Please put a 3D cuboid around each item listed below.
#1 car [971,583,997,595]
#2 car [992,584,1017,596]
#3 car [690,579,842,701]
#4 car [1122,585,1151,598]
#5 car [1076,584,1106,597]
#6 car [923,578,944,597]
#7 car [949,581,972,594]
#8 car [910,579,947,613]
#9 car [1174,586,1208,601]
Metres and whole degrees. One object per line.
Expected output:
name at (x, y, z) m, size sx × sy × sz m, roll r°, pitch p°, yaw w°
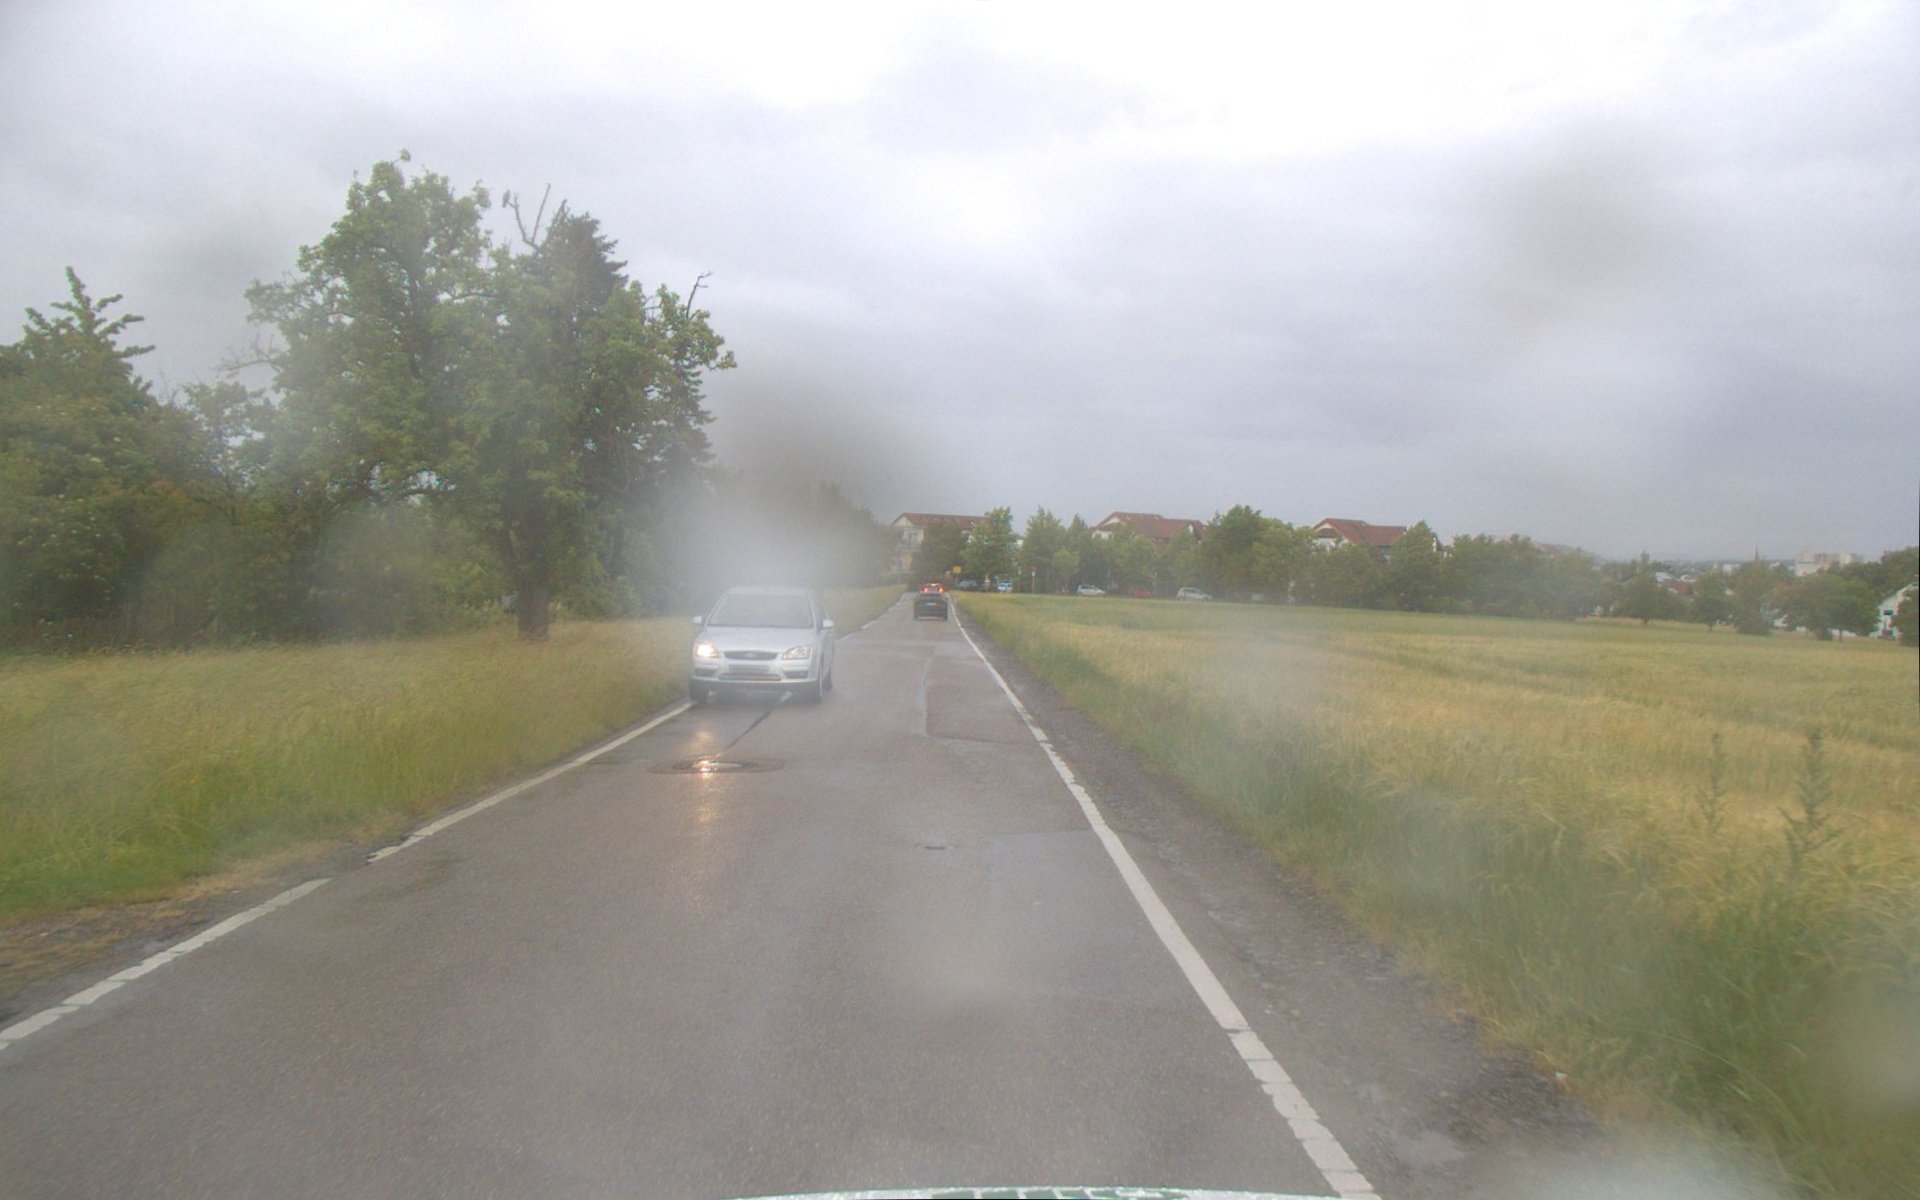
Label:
car at (3.286, -1.487, 225.409) m, size 1.632 × 1.573 × 3.986 m, roll 1°, pitch -1°, yaw 34°
car at (6.216, -1.427, 229.715) m, size 1.632 × 1.573 × 3.986 m, roll 1°, pitch -1°, yaw 34°
car at (-2.600, 0.525, 23.006) m, size 1.704 × 1.497 × 4.121 m, roll 1°, pitch -1°, yaw -2°
car at (20.320, -1.017, 190.546) m, size 3.124 × 1.394 × 1.573 m, roll 1°, pitch -1°, yaw 12°
car at (15.210, -1.111, 191.701) m, size 3.317 × 1.394 × 1.549 m, roll 1°, pitch -1°, yaw 12°
car at (-2.364, -1.110, 149.128) m, size 1.777 × 1.622 × 4.000 m, roll 1°, pitch -1°, yaw 0°
car at (0.088, -1.648, 219.352) m, size 1.627 × 1.573 × 3.998 m, roll 1°, pitch -1°, yaw 24°
car at (-1.579, -0.168, 84.224) m, size 1.777 × 1.622 × 4.000 m, roll 1°, pitch -1°, yaw 0°
car at (26.402, -0.718, 189.084) m, size 3.630 × 1.591 × 1.611 m, roll 1°, pitch -1°, yaw 12°
